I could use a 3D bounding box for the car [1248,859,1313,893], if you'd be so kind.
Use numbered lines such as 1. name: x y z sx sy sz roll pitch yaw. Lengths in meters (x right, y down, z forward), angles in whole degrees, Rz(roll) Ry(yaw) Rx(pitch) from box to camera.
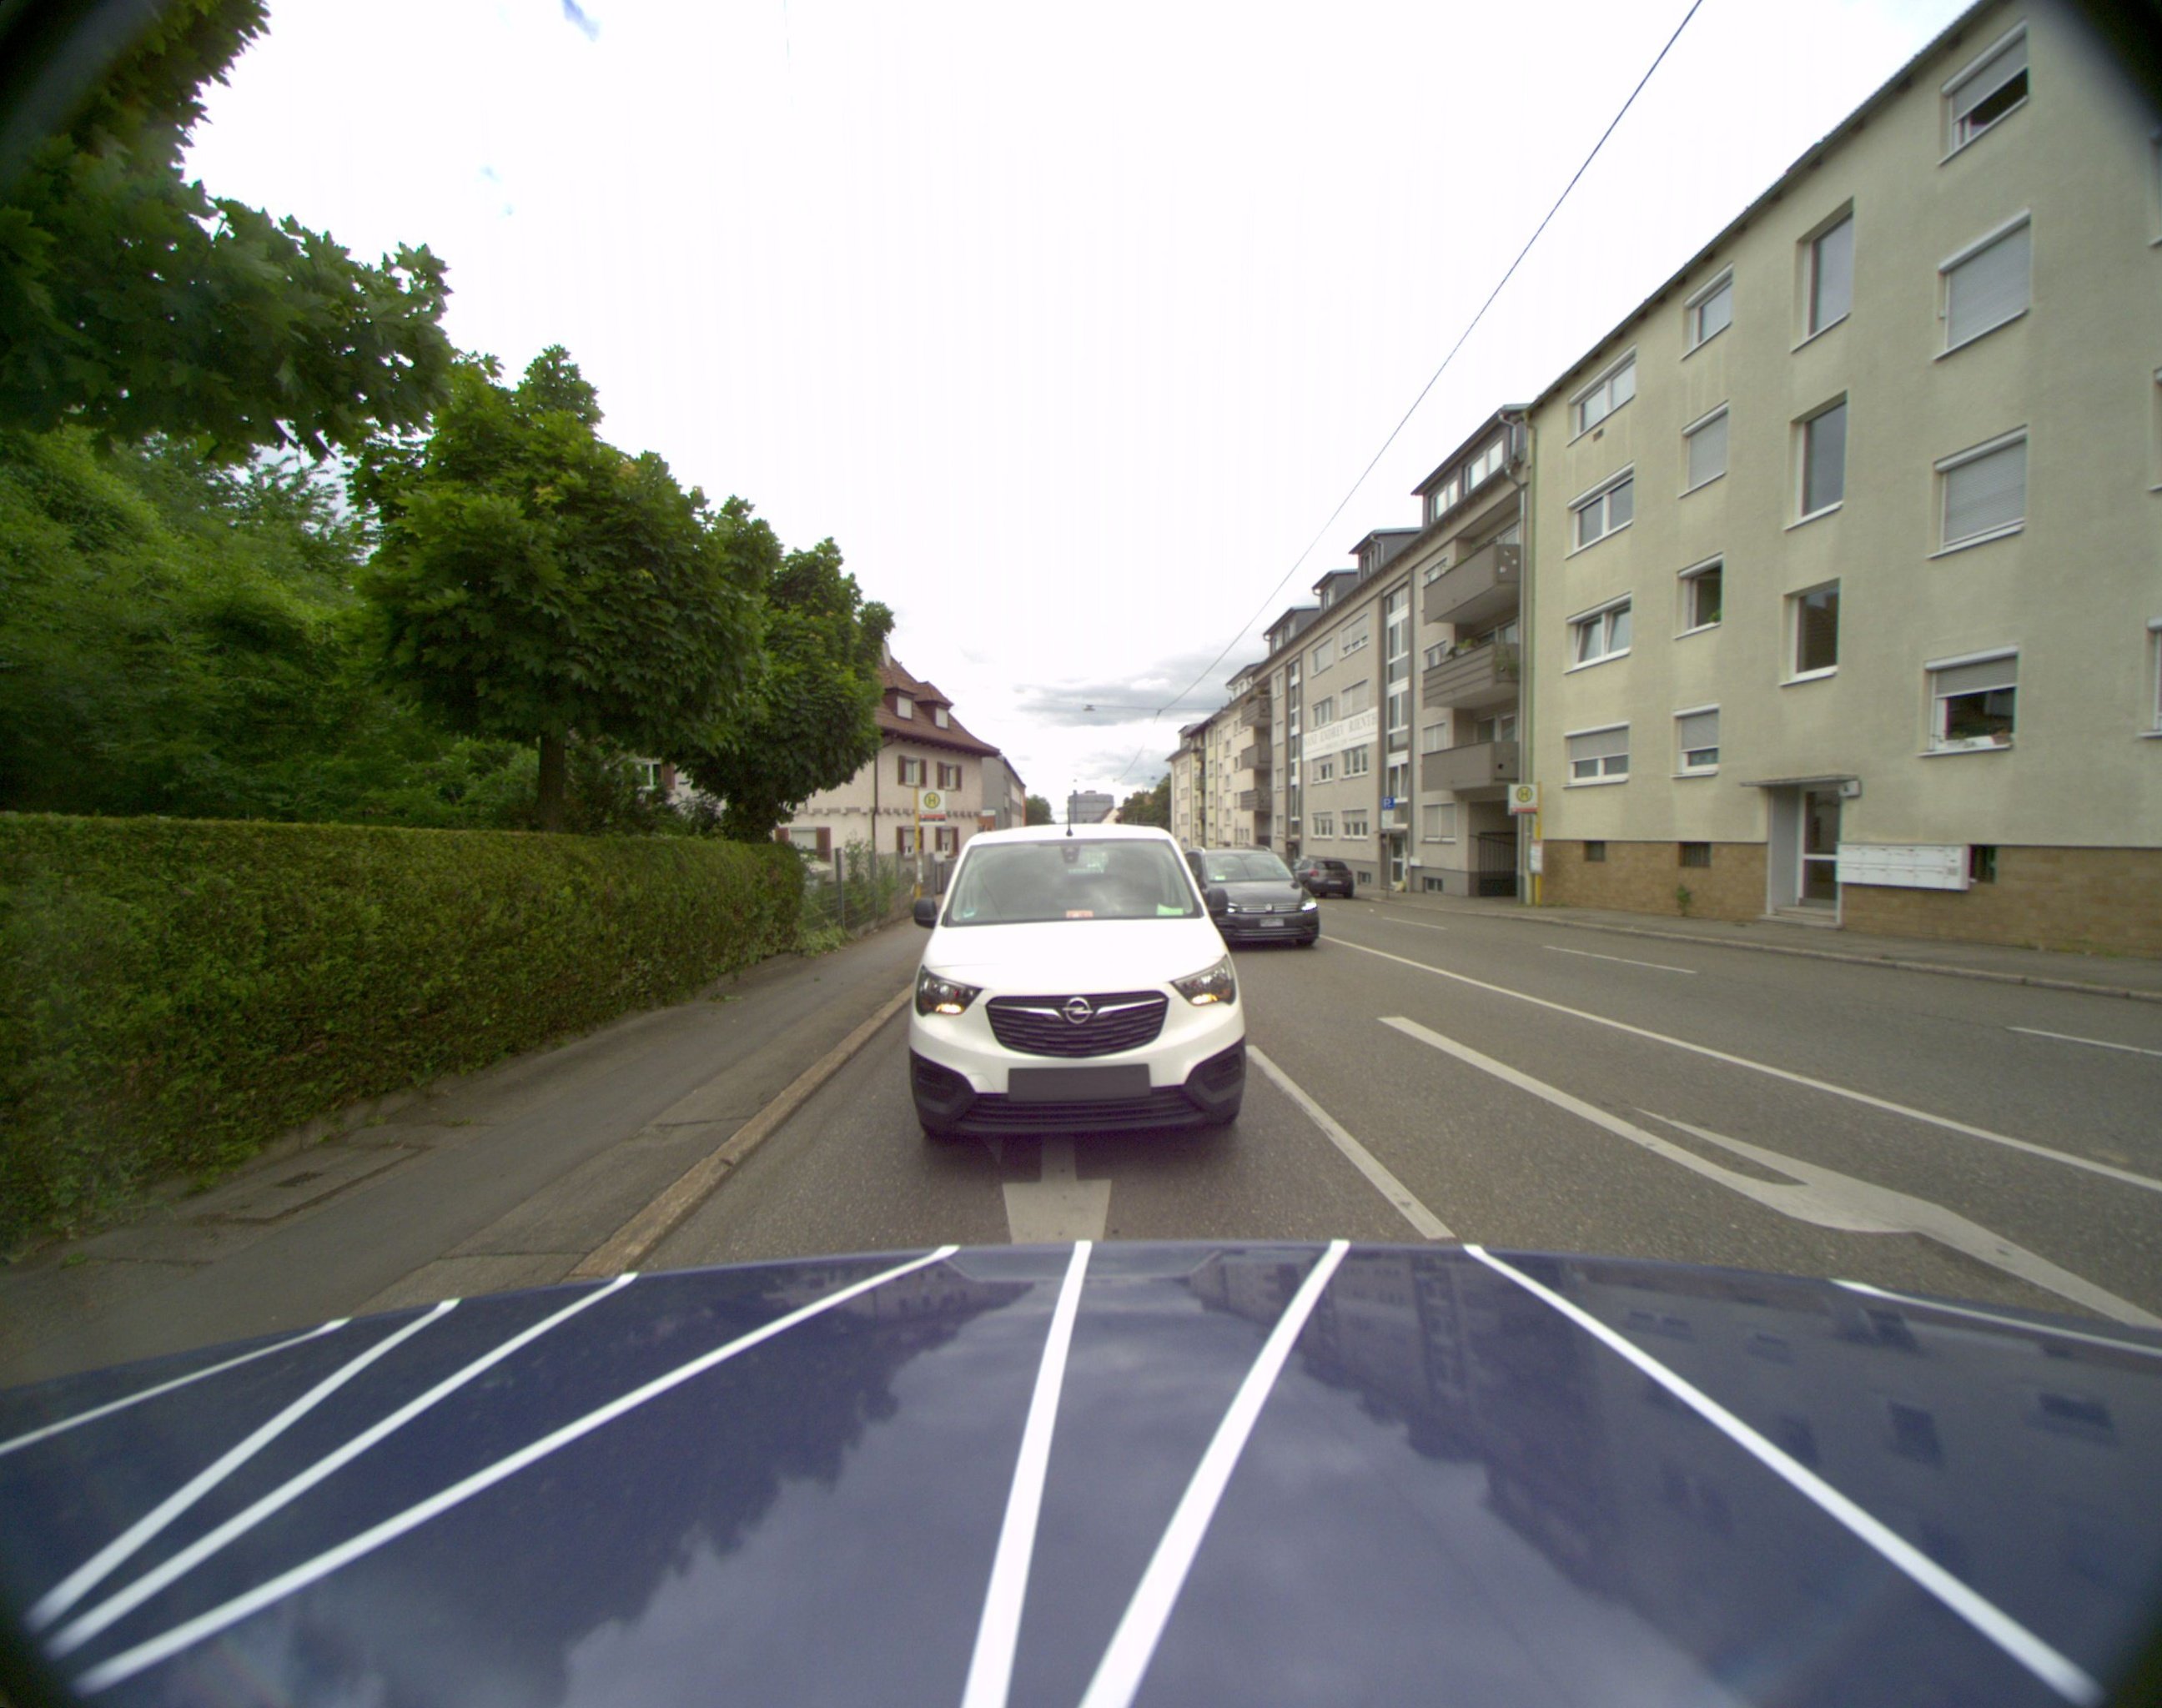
1. car: 8.736 0.930 33.519 1.669 1.368 3.538 0 1 -5

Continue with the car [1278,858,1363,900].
1. car: 8.907 0.895 28.570 1.776 1.403 3.685 0 1 -5

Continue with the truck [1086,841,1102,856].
1. truck: 2.383 -0.971 137.817 2.547 2.522 5.493 0 0 -2

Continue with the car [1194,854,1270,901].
1. car: 5.329 0.772 27.323 1.775 1.513 4.082 0 1 -2

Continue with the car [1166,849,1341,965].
1. car: 2.768 0.754 13.326 1.863 1.601 4.478 -2 1 -2

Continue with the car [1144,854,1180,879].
1. car: 5.063 0.784 47.918 1.593 1.474 3.597 -1 1 -4

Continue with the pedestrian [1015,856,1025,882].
1. pedestrian: -4.352 1.050 53.890 0.647 1.830 0.592 -1 1 -2

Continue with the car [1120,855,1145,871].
1. car: 4.600 0.806 68.562 1.776 1.395 3.642 0 1 -5

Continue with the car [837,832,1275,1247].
1. car: -0.076 0.795 5.699 1.862 1.772 4.711 -2 1 1
